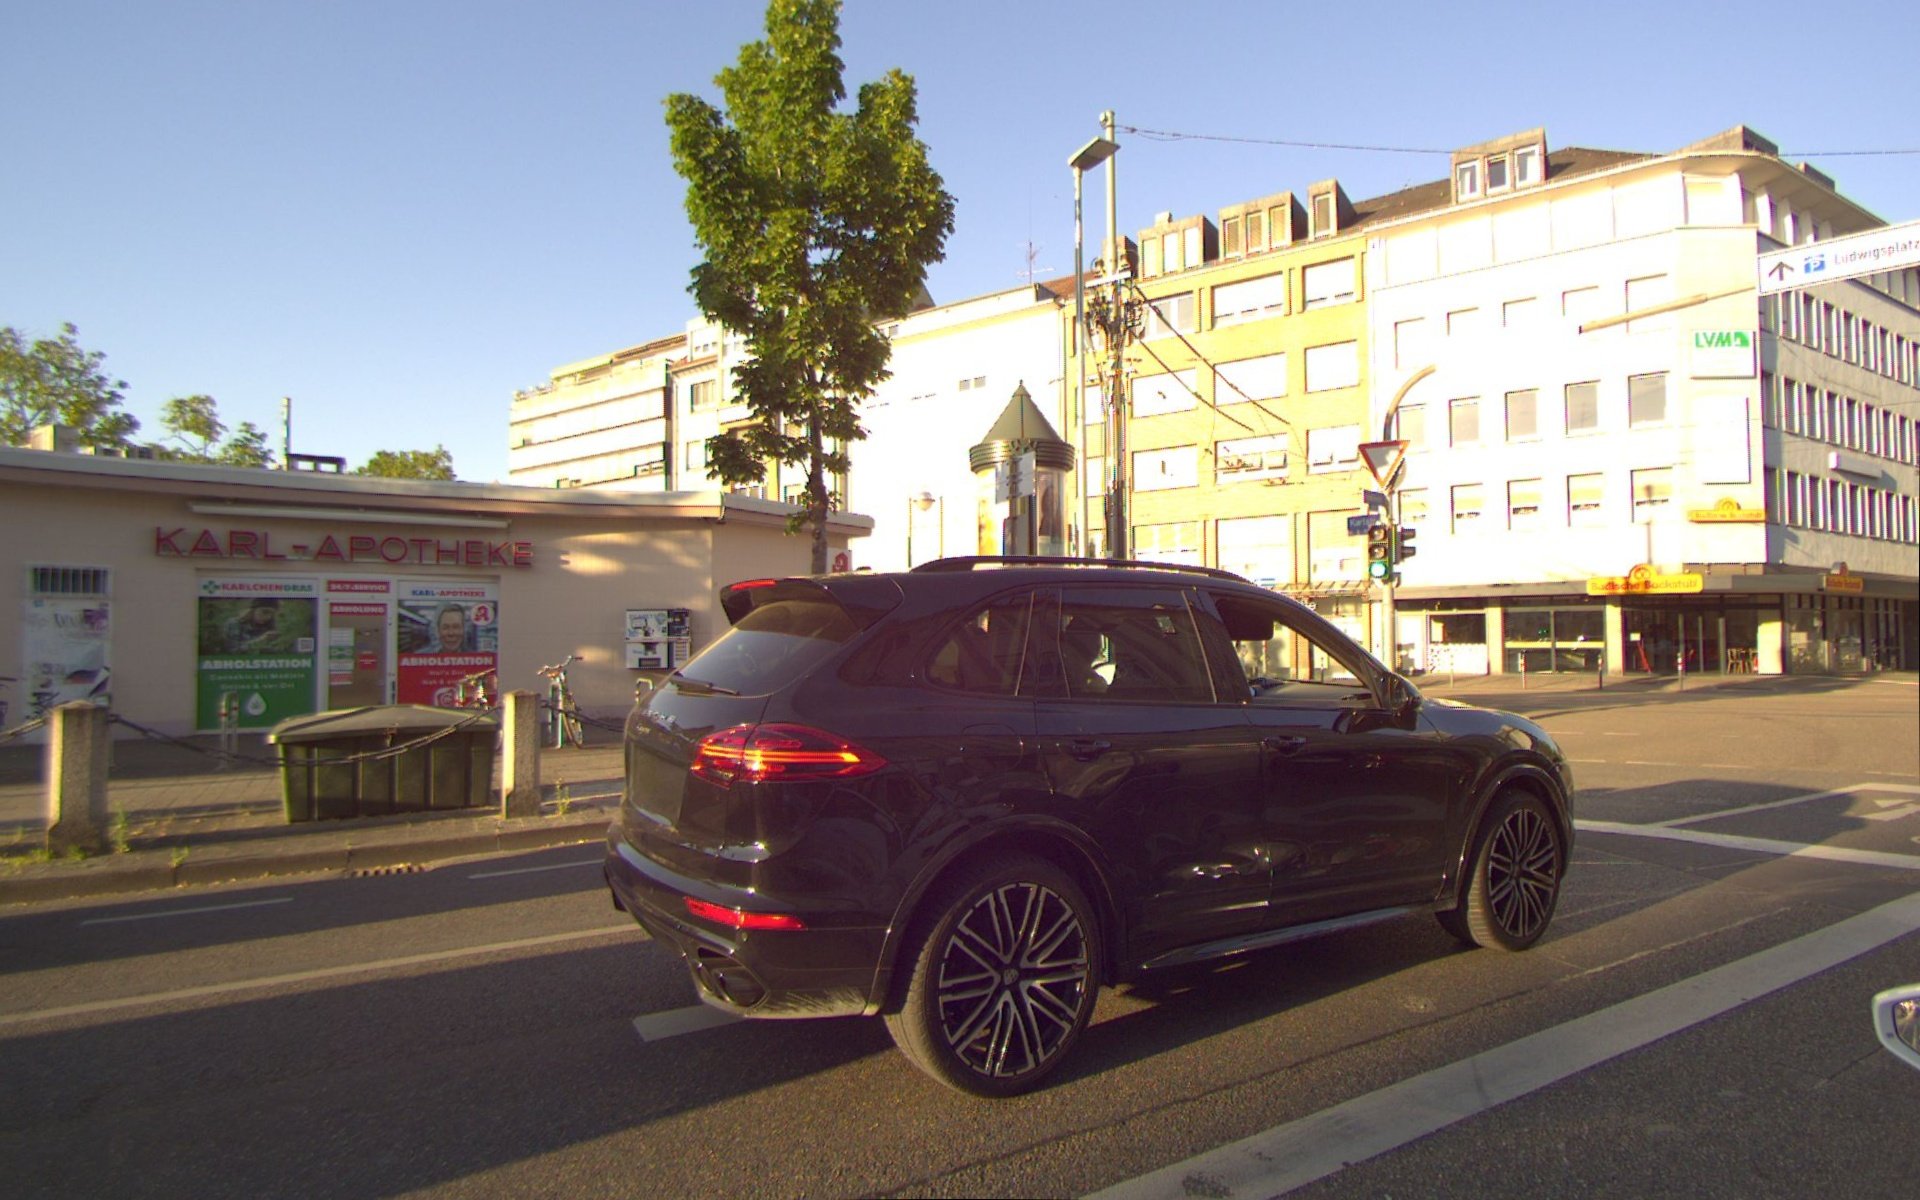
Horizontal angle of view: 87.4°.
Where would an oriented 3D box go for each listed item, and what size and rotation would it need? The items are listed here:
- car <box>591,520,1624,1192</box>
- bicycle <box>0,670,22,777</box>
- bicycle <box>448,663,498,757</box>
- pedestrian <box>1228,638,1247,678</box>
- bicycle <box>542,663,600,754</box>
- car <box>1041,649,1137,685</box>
[{"bbox_3d":[0.866,0.716,4.535,4.516,1.720,1.791,1,-2,-31],"label":"car"},{"bbox_3d":[-10.293,1.312,10.453,0.391,1.117,1.797,1,-3,-31],"label":"bicycle"},{"bbox_3d":[-6.380,1.389,13.123,0.443,1.128,1.857,2,-4,-30],"label":"bicycle"},{"bbox_3d":[10.817,2.248,39.103,0.613,1.491,0.544,-2,0,19],"label":"pedestrian"},{"bbox_3d":[-5.273,1.421,13.565,0.443,1.128,1.857,2,-4,-30],"label":"bicycle"},{"bbox_3d":[5.054,2.631,39.416,3.334,1.270,1.631,-3,-1,36],"label":"car"}]
